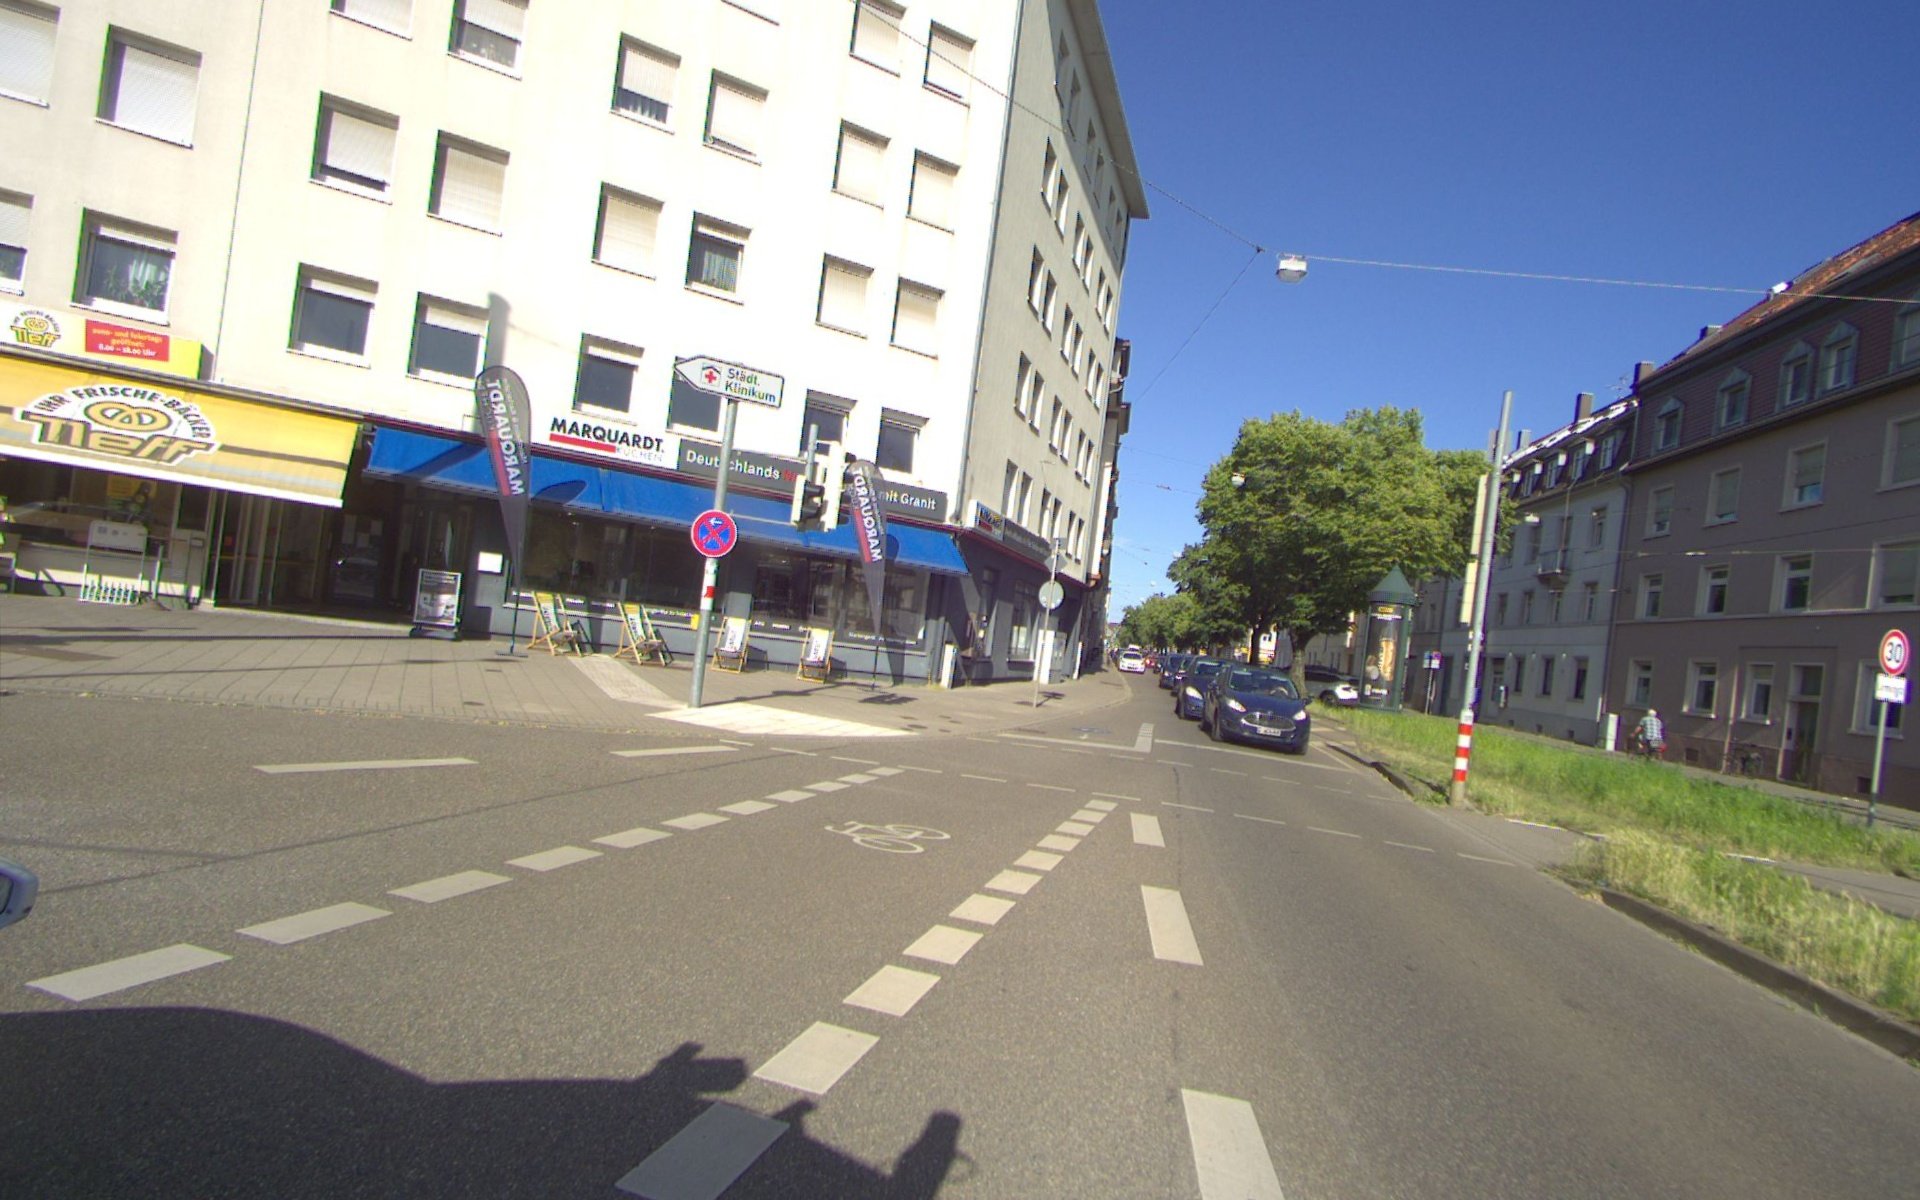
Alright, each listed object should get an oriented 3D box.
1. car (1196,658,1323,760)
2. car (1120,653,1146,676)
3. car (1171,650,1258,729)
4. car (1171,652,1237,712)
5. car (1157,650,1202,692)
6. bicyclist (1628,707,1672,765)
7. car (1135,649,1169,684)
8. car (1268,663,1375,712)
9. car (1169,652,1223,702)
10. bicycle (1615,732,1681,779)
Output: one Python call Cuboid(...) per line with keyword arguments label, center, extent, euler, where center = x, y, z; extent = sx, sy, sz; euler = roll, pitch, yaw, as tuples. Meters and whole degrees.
Cuboid(label="car", center=(5.669, 2.001, 19.482), extent=(1.701, 1.470, 4.004), euler=(9, -1, 10))
Cuboid(label="car", center=(12.338, 4.581, 71.833), extent=(1.627, 1.387, 3.775), euler=(7, -1, 10))
Cuboid(label="car", center=(6.292, 2.159, 25.245), extent=(1.627, 1.599, 4.004), euler=(7, -1, 10))
Cuboid(label="car", center=(7.830, 2.596, 32.566), extent=(1.627, 1.599, 4.004), euler=(7, -1, 10))
Cuboid(label="car", center=(9.778, 3.154, 45.056), extent=(1.627, 1.599, 3.775), euler=(7, -1, 10))
Cuboid(label="bicyclist", center=(18.534, 3.653, 27.036), extent=(0.500, 1.426, 0.806), euler=(7, 0, 6))
Cuboid(label="car", center=(10.518, 3.615, 55.248), extent=(1.627, 1.599, 3.775), euler=(7, -1, 10))
Cuboid(label="car", center=(16.238, 3.922, 45.298), extent=(3.949, 1.593, 1.989), euler=(6, -1, 45))
Cuboid(label="car", center=(8.963, 2.888, 38.479), extent=(1.627, 1.599, 3.775), euler=(7, -1, 10))
Cuboid(label="bicycle", center=(18.479, 4.160, 27.073), extent=(0.497, 0.966, 1.999), euler=(7, -1, 7))
